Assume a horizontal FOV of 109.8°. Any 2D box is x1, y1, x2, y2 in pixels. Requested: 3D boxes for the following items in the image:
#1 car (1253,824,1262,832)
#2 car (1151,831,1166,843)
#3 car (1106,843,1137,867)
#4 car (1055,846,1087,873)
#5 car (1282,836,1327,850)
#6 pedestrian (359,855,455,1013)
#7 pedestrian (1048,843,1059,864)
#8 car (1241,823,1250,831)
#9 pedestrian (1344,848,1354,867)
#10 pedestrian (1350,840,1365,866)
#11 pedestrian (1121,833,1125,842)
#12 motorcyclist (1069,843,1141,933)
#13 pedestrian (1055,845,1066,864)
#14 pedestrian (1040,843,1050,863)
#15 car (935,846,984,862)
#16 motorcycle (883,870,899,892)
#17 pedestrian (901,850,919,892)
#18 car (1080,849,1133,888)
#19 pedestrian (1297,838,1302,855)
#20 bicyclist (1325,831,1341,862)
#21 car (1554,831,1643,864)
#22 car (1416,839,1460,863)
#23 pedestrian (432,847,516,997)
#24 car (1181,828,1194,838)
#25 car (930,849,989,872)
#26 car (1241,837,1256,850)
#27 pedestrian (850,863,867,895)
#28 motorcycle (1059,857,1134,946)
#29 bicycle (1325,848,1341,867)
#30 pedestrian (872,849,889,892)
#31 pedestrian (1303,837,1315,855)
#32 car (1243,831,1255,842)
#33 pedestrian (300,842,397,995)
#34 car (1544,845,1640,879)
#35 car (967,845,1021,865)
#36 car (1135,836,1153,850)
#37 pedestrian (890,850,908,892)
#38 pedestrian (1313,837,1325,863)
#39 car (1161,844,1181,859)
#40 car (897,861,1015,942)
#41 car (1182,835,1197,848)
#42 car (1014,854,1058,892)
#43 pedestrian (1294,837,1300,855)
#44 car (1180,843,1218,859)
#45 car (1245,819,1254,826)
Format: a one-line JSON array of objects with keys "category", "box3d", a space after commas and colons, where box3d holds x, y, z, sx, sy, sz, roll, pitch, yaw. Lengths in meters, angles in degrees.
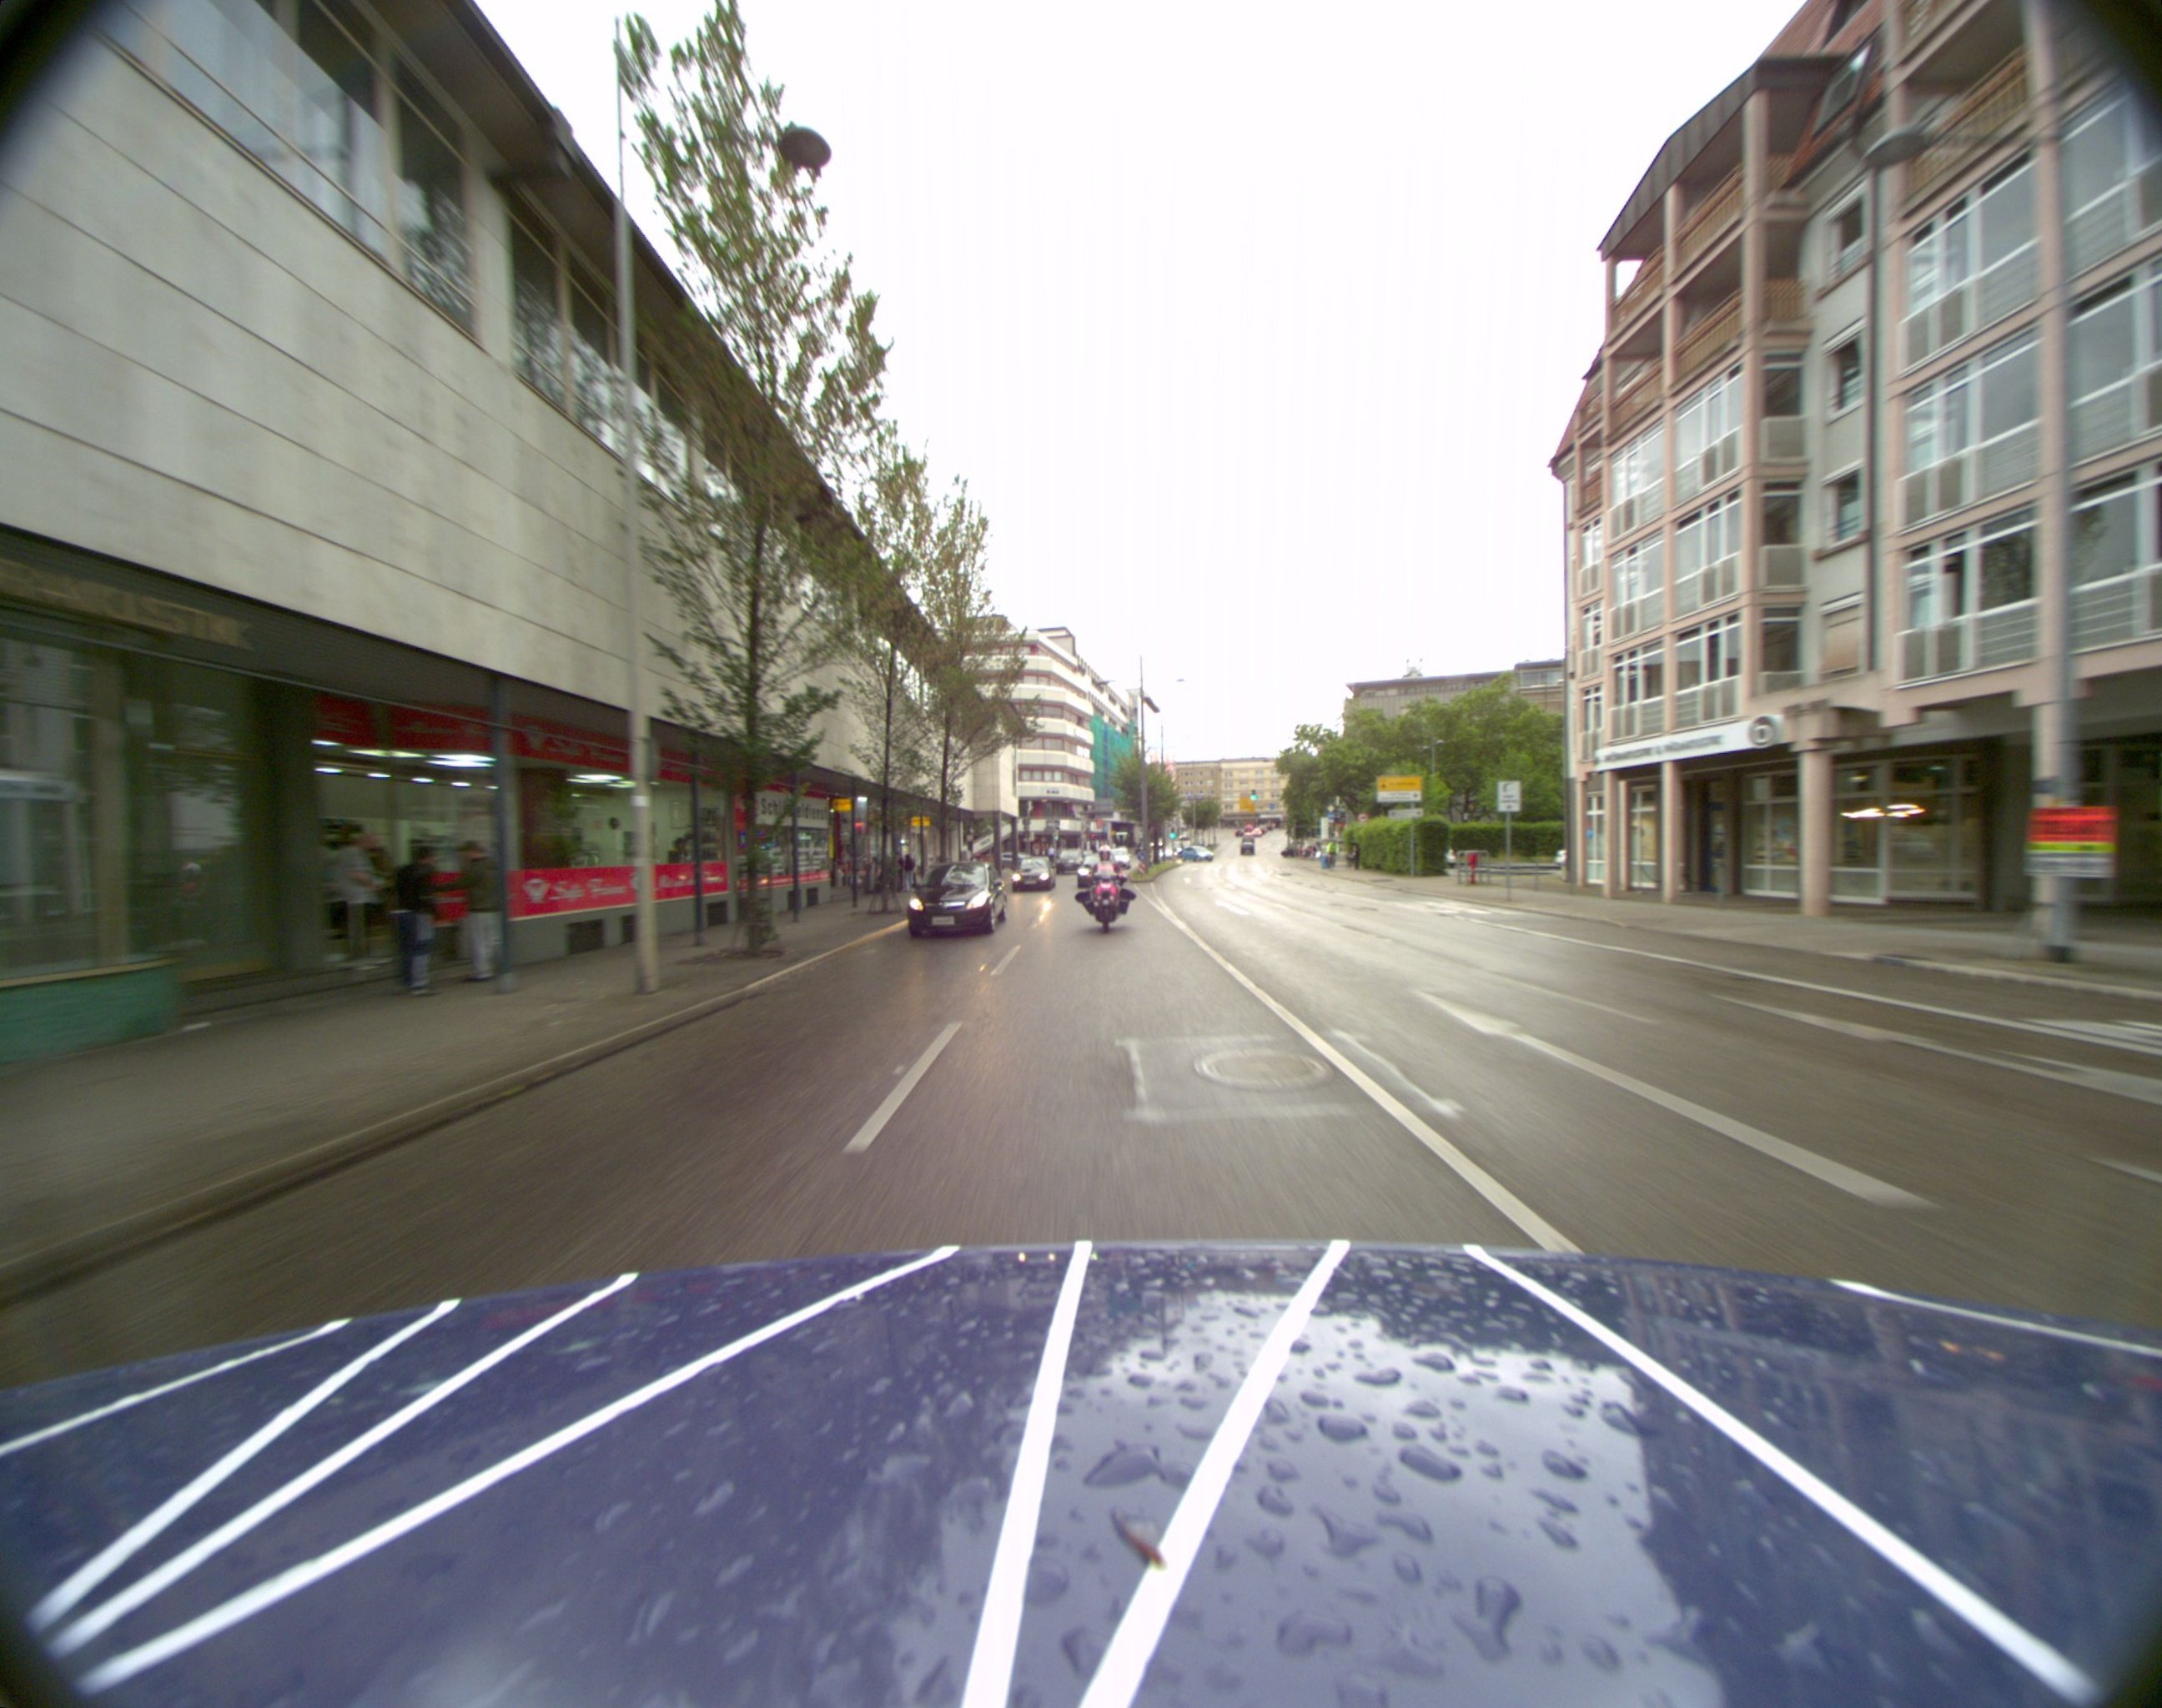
[{"category": "car", "box3d": [33.881, -5.000, 145.884, 1.674, 1.507, 3.645, 0, 2, 13]}, {"category": "car", "box3d": [12.235, -2.722, 119.555, 1.830, 1.727, 4.001, 0, 5, 15]}, {"category": "car", "box3d": [3.116, 0.034, 57.501, 1.630, 1.731, 3.603, 0, 1, 15]}, {"category": "car", "box3d": [-0.637, 0.362, 52.654, 1.735, 1.669, 4.249, -3, 1, 5]}, {"category": "car", "box3d": [25.049, -1.264, 85.286, 1.937, 1.388, 4.413, -3, 4, -44]}, {"category": "pedestrian", "box3d": [-7.571, 0.878, 8.554, 0.537, 1.709, 0.535, -1, 1, 10]}, {"category": "pedestrian", "box3d": [-2.521, -0.029, 70.131, 0.623, 1.837, 0.848, -1, 4, 20]}, {"category": "car", "box3d": [31.687, -5.259, 146.732, 1.625, 1.547, 3.662, -1, 1, 12]}, {"category": "pedestrian", "box3d": [16.826, 0.217, 47.636, 0.469, 1.144, 0.501, -1, 1, 5]}, {"category": "pedestrian", "box3d": [17.218, -0.062, 47.332, 0.716, 1.550, 0.565, -1, 1, 4]}, {"category": "pedestrian", "box3d": [6.753, -2.683, 122.055, 0.429, 1.481, 0.523, -3, 5, -15]}, {"category": "motorcyclist", "box3d": [0.509, 0.671, 15.549, 1.294, 1.757, 0.846, -1, 2, 14]}, {"category": "pedestrian", "box3d": [-2.040, 0.070, 75.376, 0.896, 1.771, 0.806, 4, 6, 17]}, {"category": "pedestrian", "box3d": [-3.342, -0.081, 70.060, 0.623, 1.764, 0.678, -1, 4, 20]}, {"category": "car", "box3d": [-11.372, -0.011, 71.290, 4.270, 1.412, 1.787, -2, 2, 1]}, {"category": "motorcycle", "box3d": [-7.175, 1.001, 28.744, 0.325, 0.799, 0.920, -1, 1, 1]}, {"category": "pedestrian", "box3d": [-6.606, 0.647, 29.284, 0.510, 1.557, 0.429, -2, 2, -40]}, {"category": "car", "box3d": [1.188, 0.569, 33.136, 1.937, 1.511, 4.470, -2, 1, 6]}, {"category": "pedestrian", "box3d": [23.685, -0.818, 82.474, 0.412, 1.754, 0.677, -1, 1, 12]}, {"category": "bicyclist", "box3d": [15.594, -0.471, 46.964, 0.793, 1.879, 0.954, -1, 2, 11]}, {"category": "car", "box3d": [27.681, -0.347, 40.754, 3.592, 1.567, 1.602, -3, 2, 20]}, {"category": "car", "box3d": [23.379, -0.212, 49.822, 1.598, 1.530, 3.602, -2, 1, 8]}, {"category": "pedestrian", "box3d": [-7.556, 0.822, 9.480, 0.537, 1.809, 0.535, -1, 1, 10]}, {"category": "car", "box3d": [19.956, -3.930, 142.322, 1.830, 1.727, 4.001, 0, 5, 15]}, {"category": "car", "box3d": [-10.401, 0.561, 65.039, 4.604, 1.750, 1.856, -1, 3, 5]}, {"category": "car", "box3d": [20.906, -1.320, 95.007, 1.760, 1.413, 4.099, 1, 3, 13]}, {"category": "pedestrian", "box3d": [-8.065, 0.898, 27.485, 0.431, 1.129, 0.508, -2, 2, -34]}, {"category": "motorcycle", "box3d": [0.370, 0.829, 14.622, 0.831, 1.479, 2.868, 0, 1, 14]}, {"category": "bicycle", "box3d": [15.612, 0.213, 47.115, 0.651, 1.104, 2.059, -1, 1, 11]}, {"category": "pedestrian", "box3d": [-7.486, 0.608, 28.406, 0.430, 1.557, 0.510, -1, 1, 6]}, {"category": "pedestrian", "box3d": [23.878, -0.838, 79.715, 0.861, 1.896, 0.826, -3, 2, -10]}, {"category": "car", "box3d": [27.142, -2.878, 122.951, 1.830, 1.727, 4.313, -1, 2, 13]}, {"category": "pedestrian", "box3d": [-8.437, 0.723, 8.767, 0.537, 1.709, 0.535, -1, 1, 11]}, {"category": "car", "box3d": [26.917, 0.419, 40.188, 4.052, 1.567, 1.957, -2, 2, 29]}, {"category": "car", "box3d": [-7.157, 0.113, 62.334, 3.989, 1.468, 2.003, -2, 3, 32]}, {"category": "car", "box3d": [8.777, -1.533, 106.078, 1.830, 1.727, 4.001, 0, 5, 15]}, {"category": "pedestrian", "box3d": [-6.901, 0.644, 28.848, 0.510, 1.557, 0.429, -2, 2, -43]}, {"category": "pedestrian", "box3d": [16.615, -0.281, 53.049, 0.630, 1.754, 0.528, -1, 2, 0]}, {"category": "car", "box3d": [9.718, -0.291, 81.815, 1.768, 1.402, 4.001, -3, 3, 11]}, {"category": "car", "box3d": [-2.548, 0.919, 16.363, 1.712, 1.448, 3.743, -2, 0, 3]}, {"category": "car", "box3d": [16.595, -1.852, 115.744, 1.830, 1.727, 4.001, 0, 5, 15]}, {"category": "car", "box3d": [-1.891, 0.772, 32.900, 1.596, 1.432, 3.627, -2, 1, 1]}, {"category": "pedestrian", "box3d": [23.125, -0.865, 81.296, 0.447, 1.828, 0.676, -1, 5, 9]}, {"category": "car", "box3d": [11.286, -0.306, 72.730, 1.703, 1.465, 3.682, -1, 0, -29]}, {"category": "car", "box3d": [36.244, -6.761, 163.396, 1.716, 1.471, 3.959, 1, 3, 13]}]
